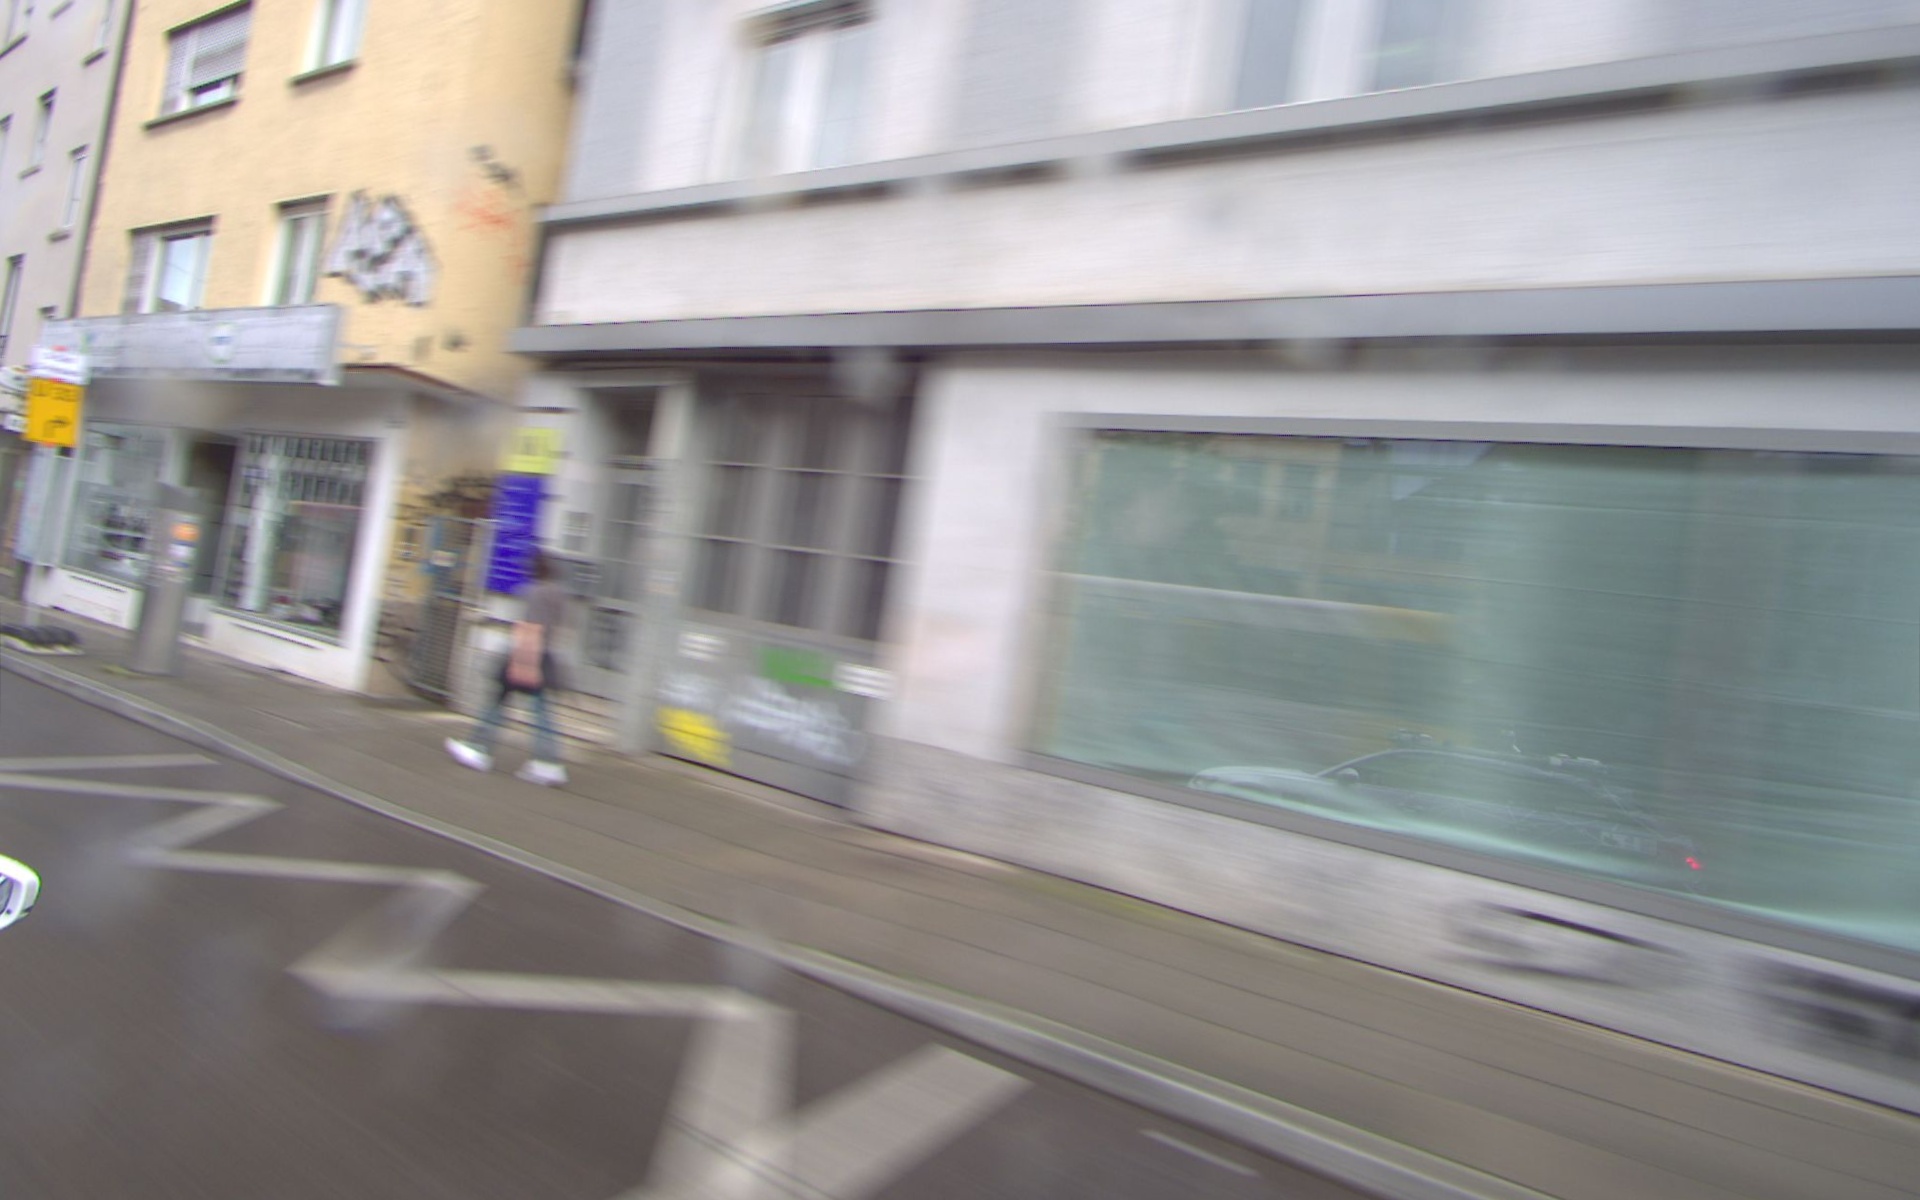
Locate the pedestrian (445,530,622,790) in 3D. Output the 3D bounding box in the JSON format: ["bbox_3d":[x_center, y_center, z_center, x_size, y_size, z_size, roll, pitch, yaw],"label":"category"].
[{"bbox_3d":[-3.031,0.399,7.168,0.709,1.682,0.791,7,3,31],"label":"pedestrian"}]
